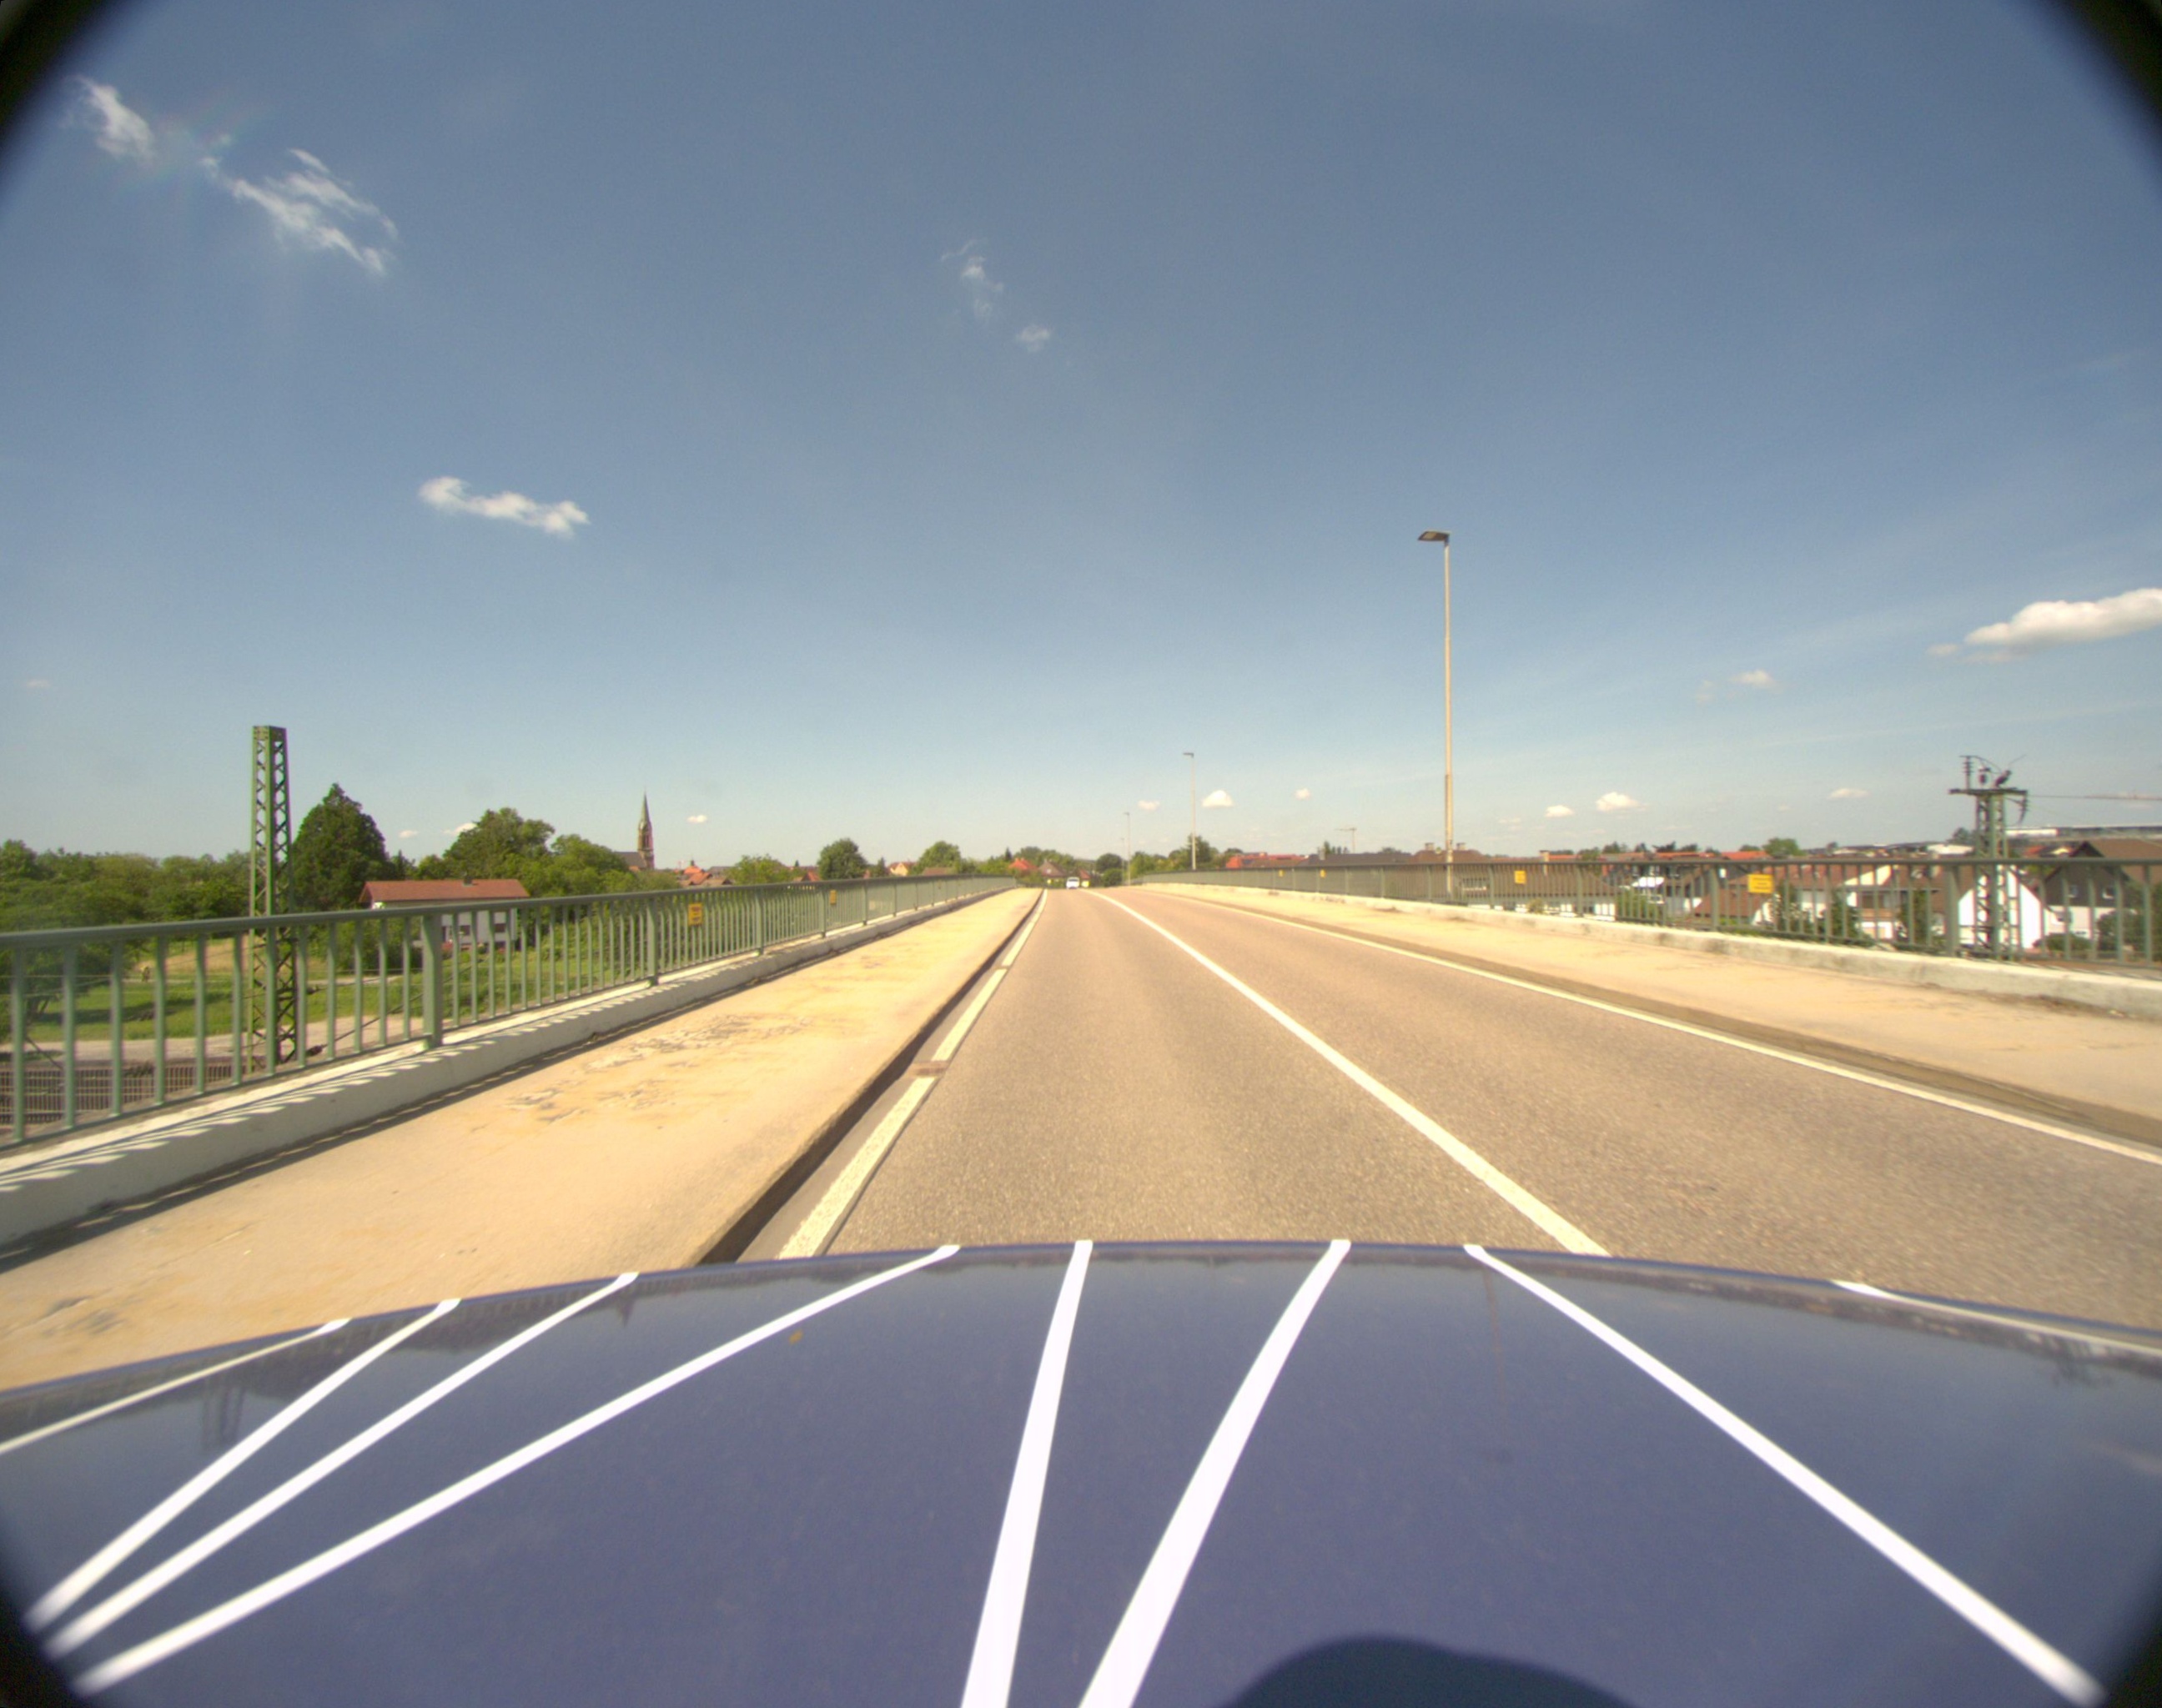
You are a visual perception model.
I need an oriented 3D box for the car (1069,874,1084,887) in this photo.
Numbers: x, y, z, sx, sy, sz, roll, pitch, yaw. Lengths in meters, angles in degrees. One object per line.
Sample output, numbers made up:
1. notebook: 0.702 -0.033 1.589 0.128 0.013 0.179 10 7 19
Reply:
1. car: -0.695 3.847 110.727 2.093 1.750 4.283 -2 0 0
